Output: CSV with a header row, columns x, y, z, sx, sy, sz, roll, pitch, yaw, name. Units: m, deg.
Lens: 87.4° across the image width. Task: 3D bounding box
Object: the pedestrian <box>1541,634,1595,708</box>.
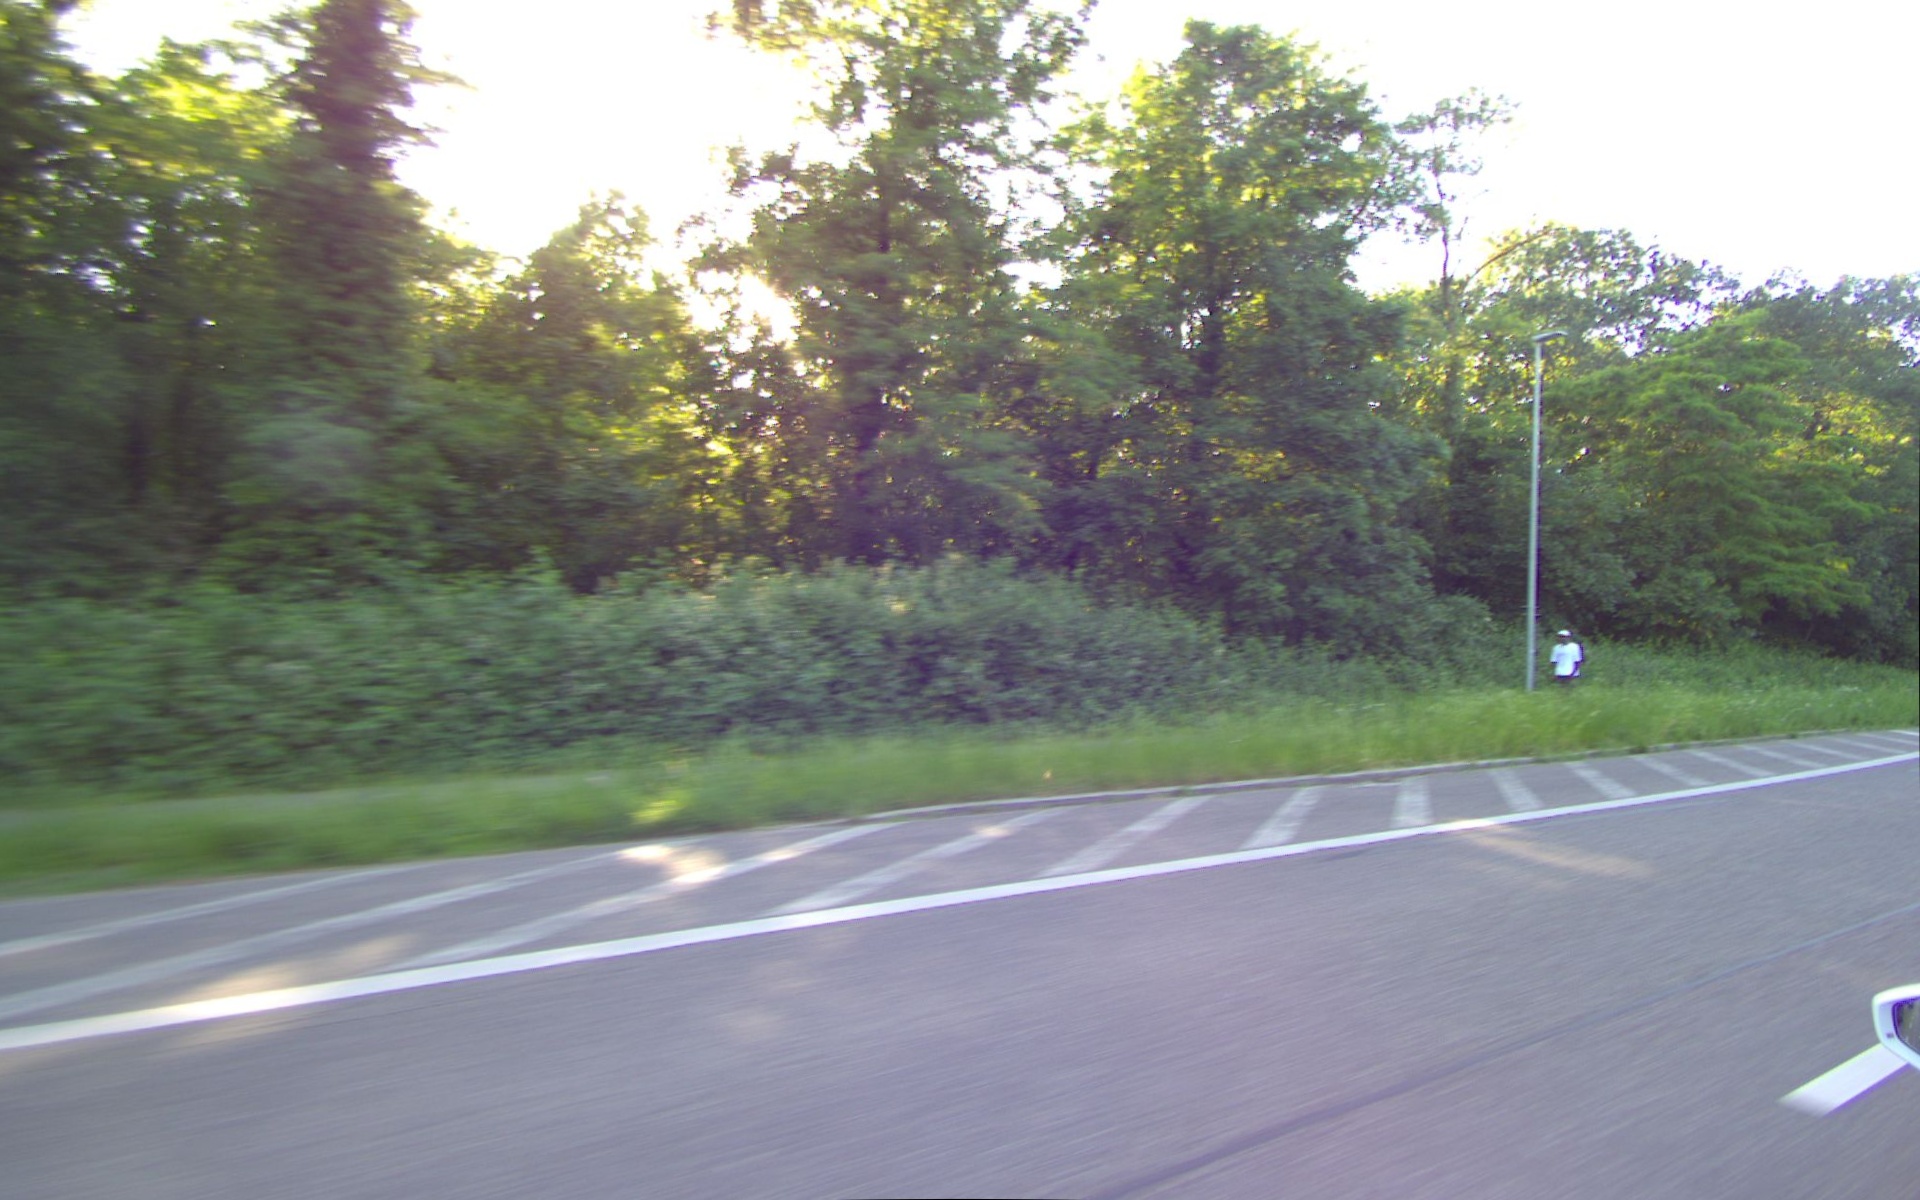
x,y,z,sx,sy,sz,roll,pitch,yaw,name
13.246,1.536,21.886,0.816,1.585,0.708,2,-2,-29,pedestrian
